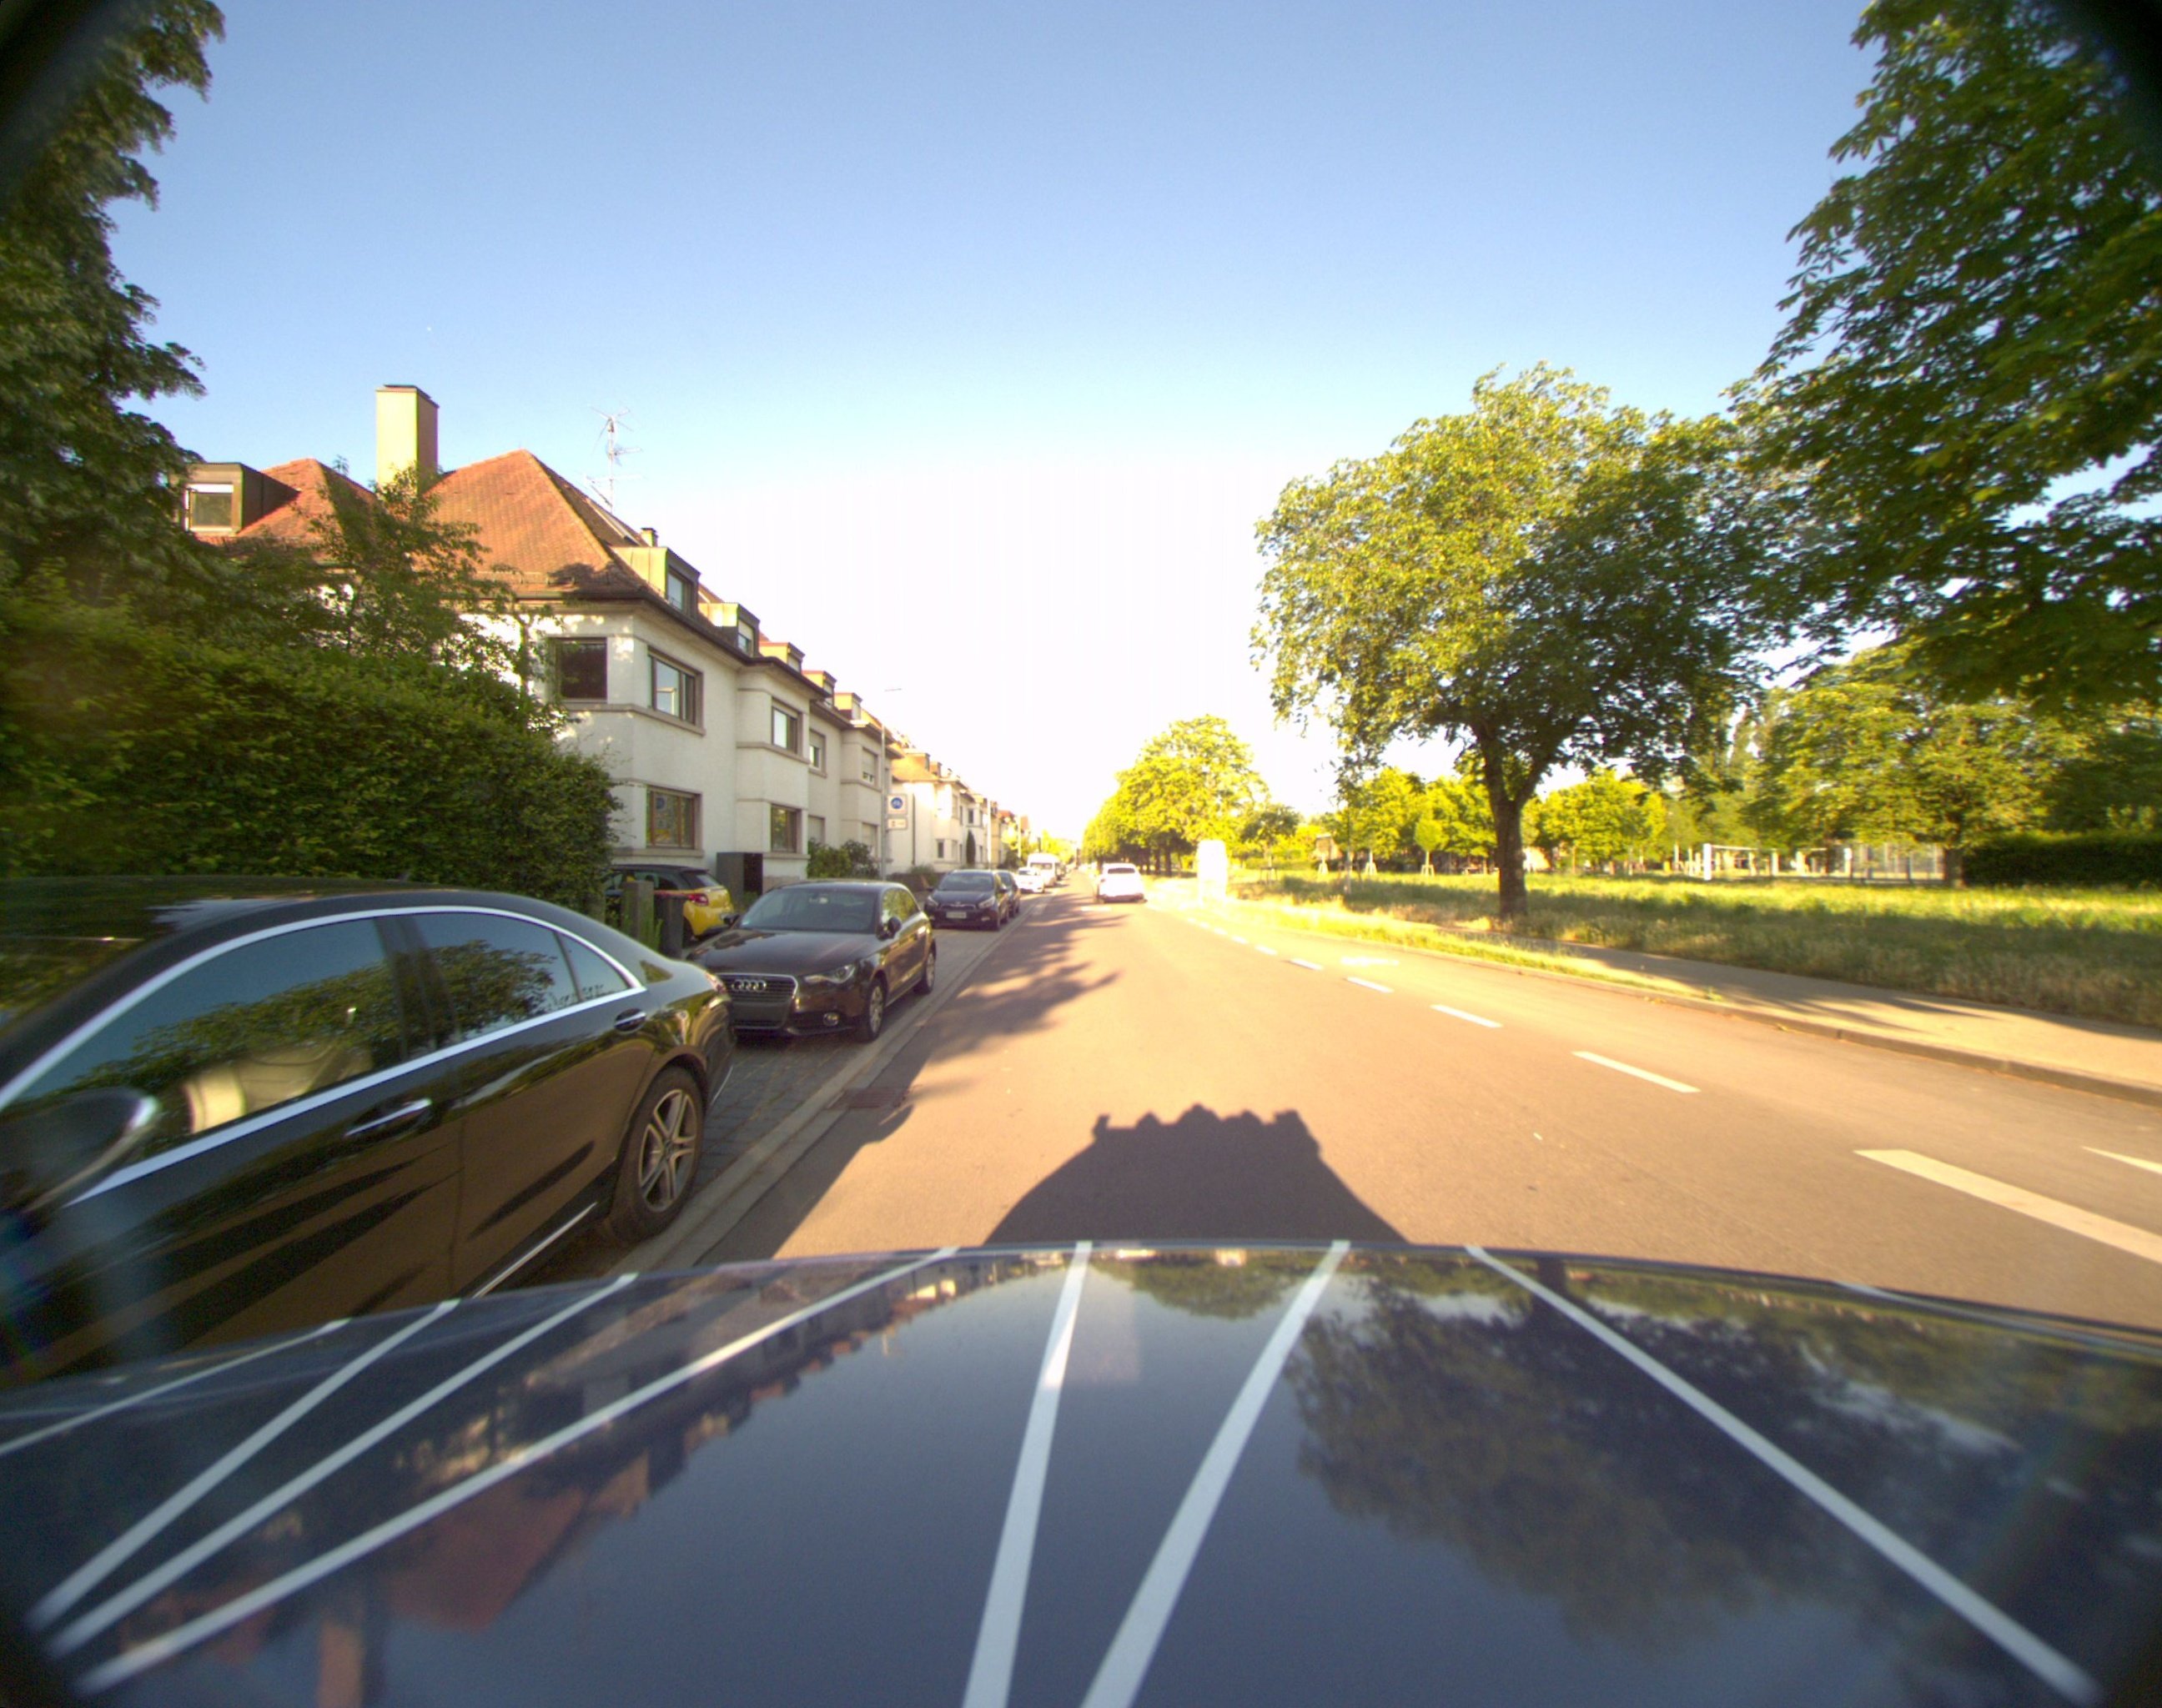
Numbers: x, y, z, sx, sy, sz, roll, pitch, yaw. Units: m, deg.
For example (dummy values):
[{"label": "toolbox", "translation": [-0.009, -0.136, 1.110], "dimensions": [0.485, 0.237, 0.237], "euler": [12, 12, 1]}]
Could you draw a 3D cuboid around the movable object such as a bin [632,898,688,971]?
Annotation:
[{"label": "movable object such as a bin", "translation": [-6.353, 1.202, 11.480], "dimensions": [0.509, 1.037, 0.658], "euler": [-1, 0, -6]}]

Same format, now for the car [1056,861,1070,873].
[{"label": "car", "translation": [-2.680, 1.950, 113.863], "dimensions": [1.974, 1.630, 4.000], "euler": [2, -1, 0]}]

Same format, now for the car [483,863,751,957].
[{"label": "car", "translation": [-8.134, 0.955, 13.619], "dimensions": [3.644, 1.487, 1.780], "euler": [1, 0, -4]}]

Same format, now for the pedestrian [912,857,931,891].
[{"label": "pedestrian", "translation": [-9.658, 1.182, 45.959], "dimensions": [1.089, 2.002, 0.865], "euler": [-1, 0, -15]}]

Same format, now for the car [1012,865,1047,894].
[{"label": "car", "translation": [-2.930, 1.438, 43.871], "dimensions": [1.787, 1.498, 4.233], "euler": [-1, 0, -1]}]

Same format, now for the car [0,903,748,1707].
[{"label": "car", "translation": [-2.625, 1.014, 1.569], "dimensions": [1.864, 1.533, 4.872], "euler": [0, 0, -2]}]

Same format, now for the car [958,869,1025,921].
[{"label": "car", "translation": [-2.815, 1.259, 24.760], "dimensions": [1.723, 1.462, 3.983], "euler": [2, 0, -1]}]

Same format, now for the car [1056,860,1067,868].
[{"label": "car", "translation": [-3.949, 2.033, 154.041], "dimensions": [1.974, 1.630, 4.000], "euler": [-1, -1, 0]}]

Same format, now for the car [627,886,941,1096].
[{"label": "car", "translation": [-2.607, 1.123, 7.720], "dimensions": [1.645, 1.419, 3.936], "euler": [1, 0, -1]}]

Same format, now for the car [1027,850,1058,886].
[{"label": "car", "translation": [-2.821, 1.033, 56.862], "dimensions": [2.135, 2.503, 5.508], "euler": [1, -1, -2]}]

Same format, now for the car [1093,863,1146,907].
[{"label": "car", "translation": [1.551, 1.245, 32.056], "dimensions": [1.896, 1.666, 4.424], "euler": [-1, 0, -1]}]

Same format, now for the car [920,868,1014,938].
[{"label": "car", "translation": [-2.781, 1.166, 19.428], "dimensions": [1.751, 1.466, 4.255], "euler": [3, -1, -1]}]

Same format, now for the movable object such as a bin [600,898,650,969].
[{"label": "movable object such as a bin", "translation": [-6.927, 1.200, 11.564], "dimensions": [0.509, 1.037, 0.417], "euler": [-1, 0, -6]}]

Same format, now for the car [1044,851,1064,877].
[{"label": "car", "translation": [-3.064, 1.176, 87.359], "dimensions": [2.134, 2.837, 5.987], "euler": [-1, -1, 0]}]
